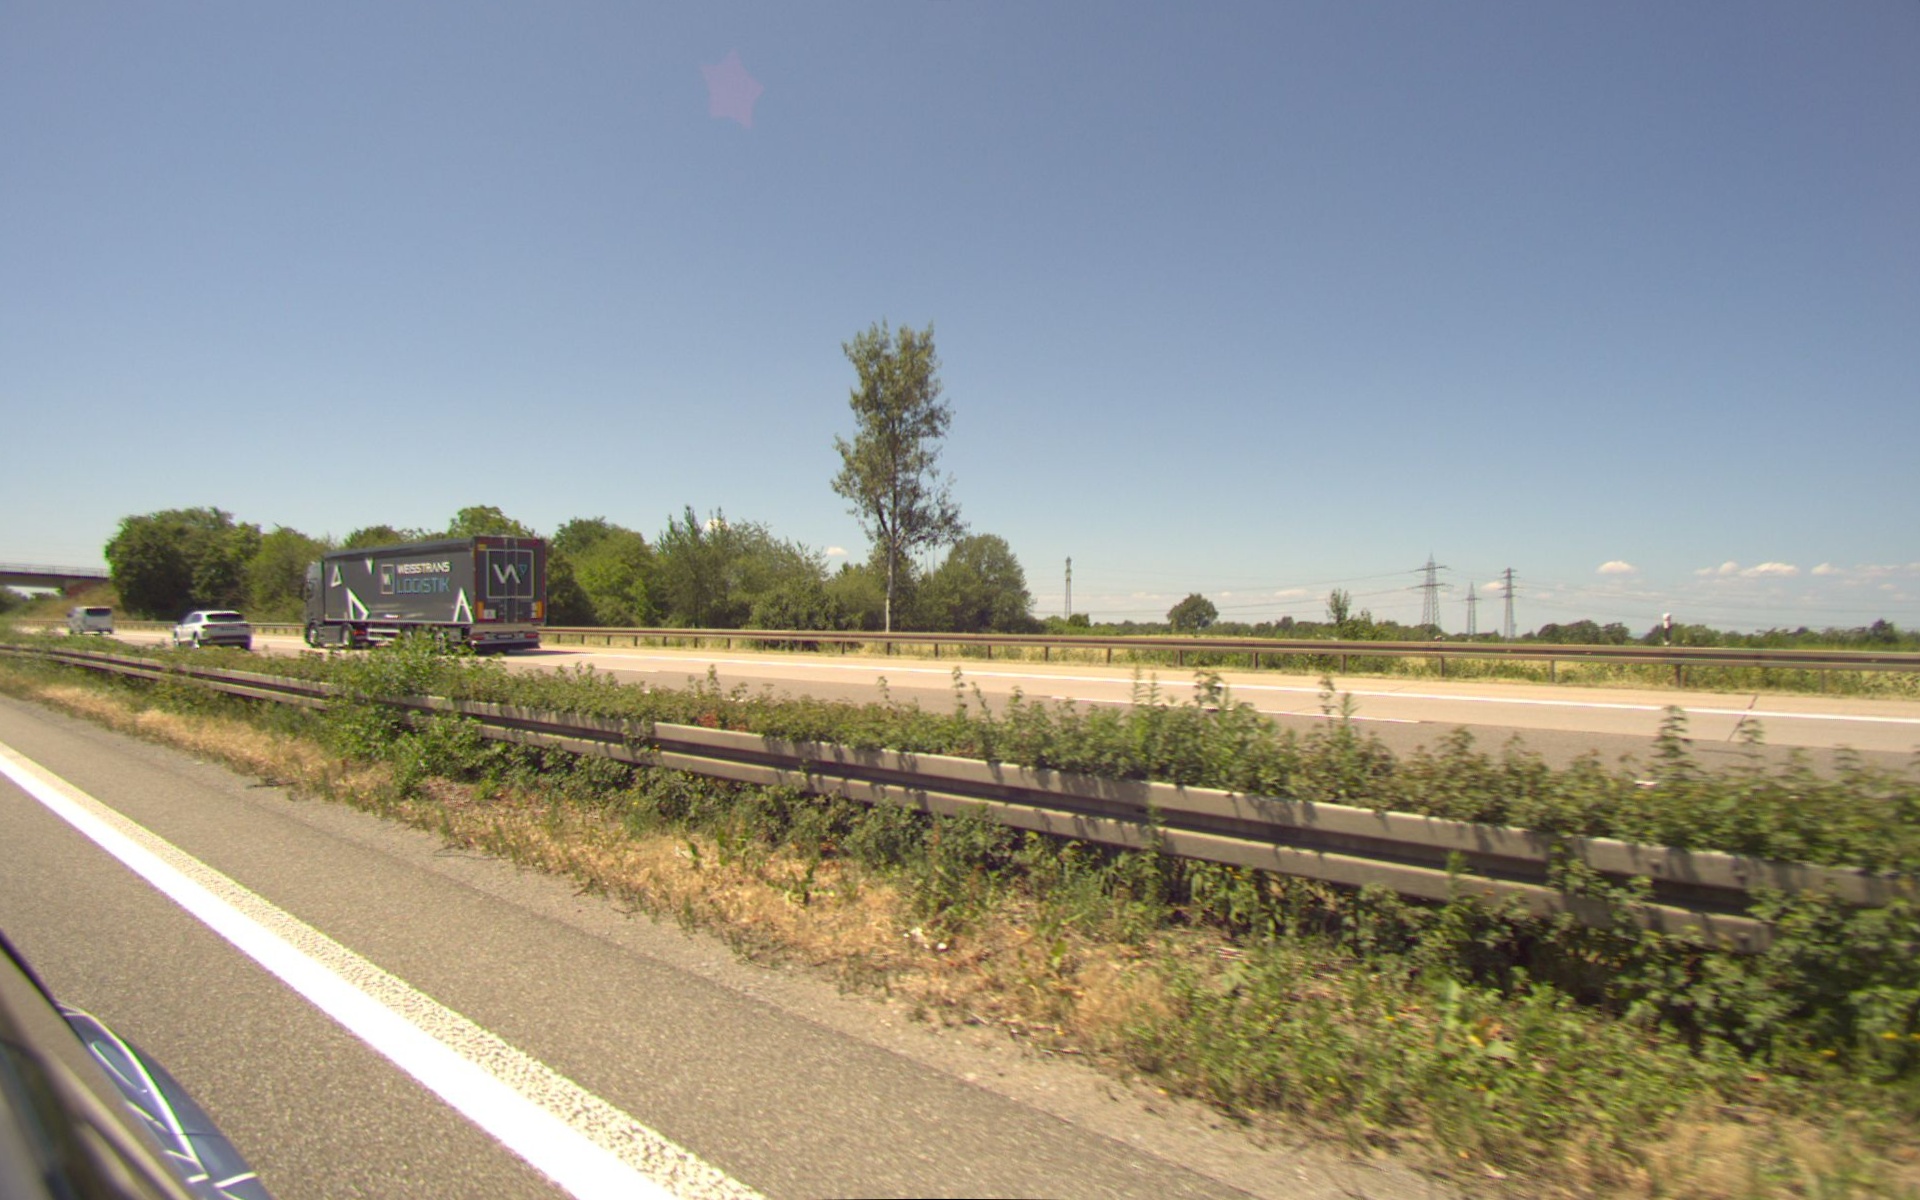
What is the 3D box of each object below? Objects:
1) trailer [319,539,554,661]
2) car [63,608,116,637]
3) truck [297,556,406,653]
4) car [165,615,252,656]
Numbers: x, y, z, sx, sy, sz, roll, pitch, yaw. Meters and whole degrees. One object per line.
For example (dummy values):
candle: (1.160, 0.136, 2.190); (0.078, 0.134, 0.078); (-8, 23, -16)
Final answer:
trailer: (-20.378, 0.110, 38.652); (14.047, 3.978, 2.851); (-1, -1, 40)
car: (-63.628, 1.646, 73.923); (5.403, 2.086, 2.037); (-1, -2, 39)
truck: (-26.156, 0.213, 43.510); (3.996, 3.945, 2.864); (-1, -1, 40)
car: (-30.898, 1.437, 41.575); (4.483, 1.598, 1.824); (-1, -1, 39)
